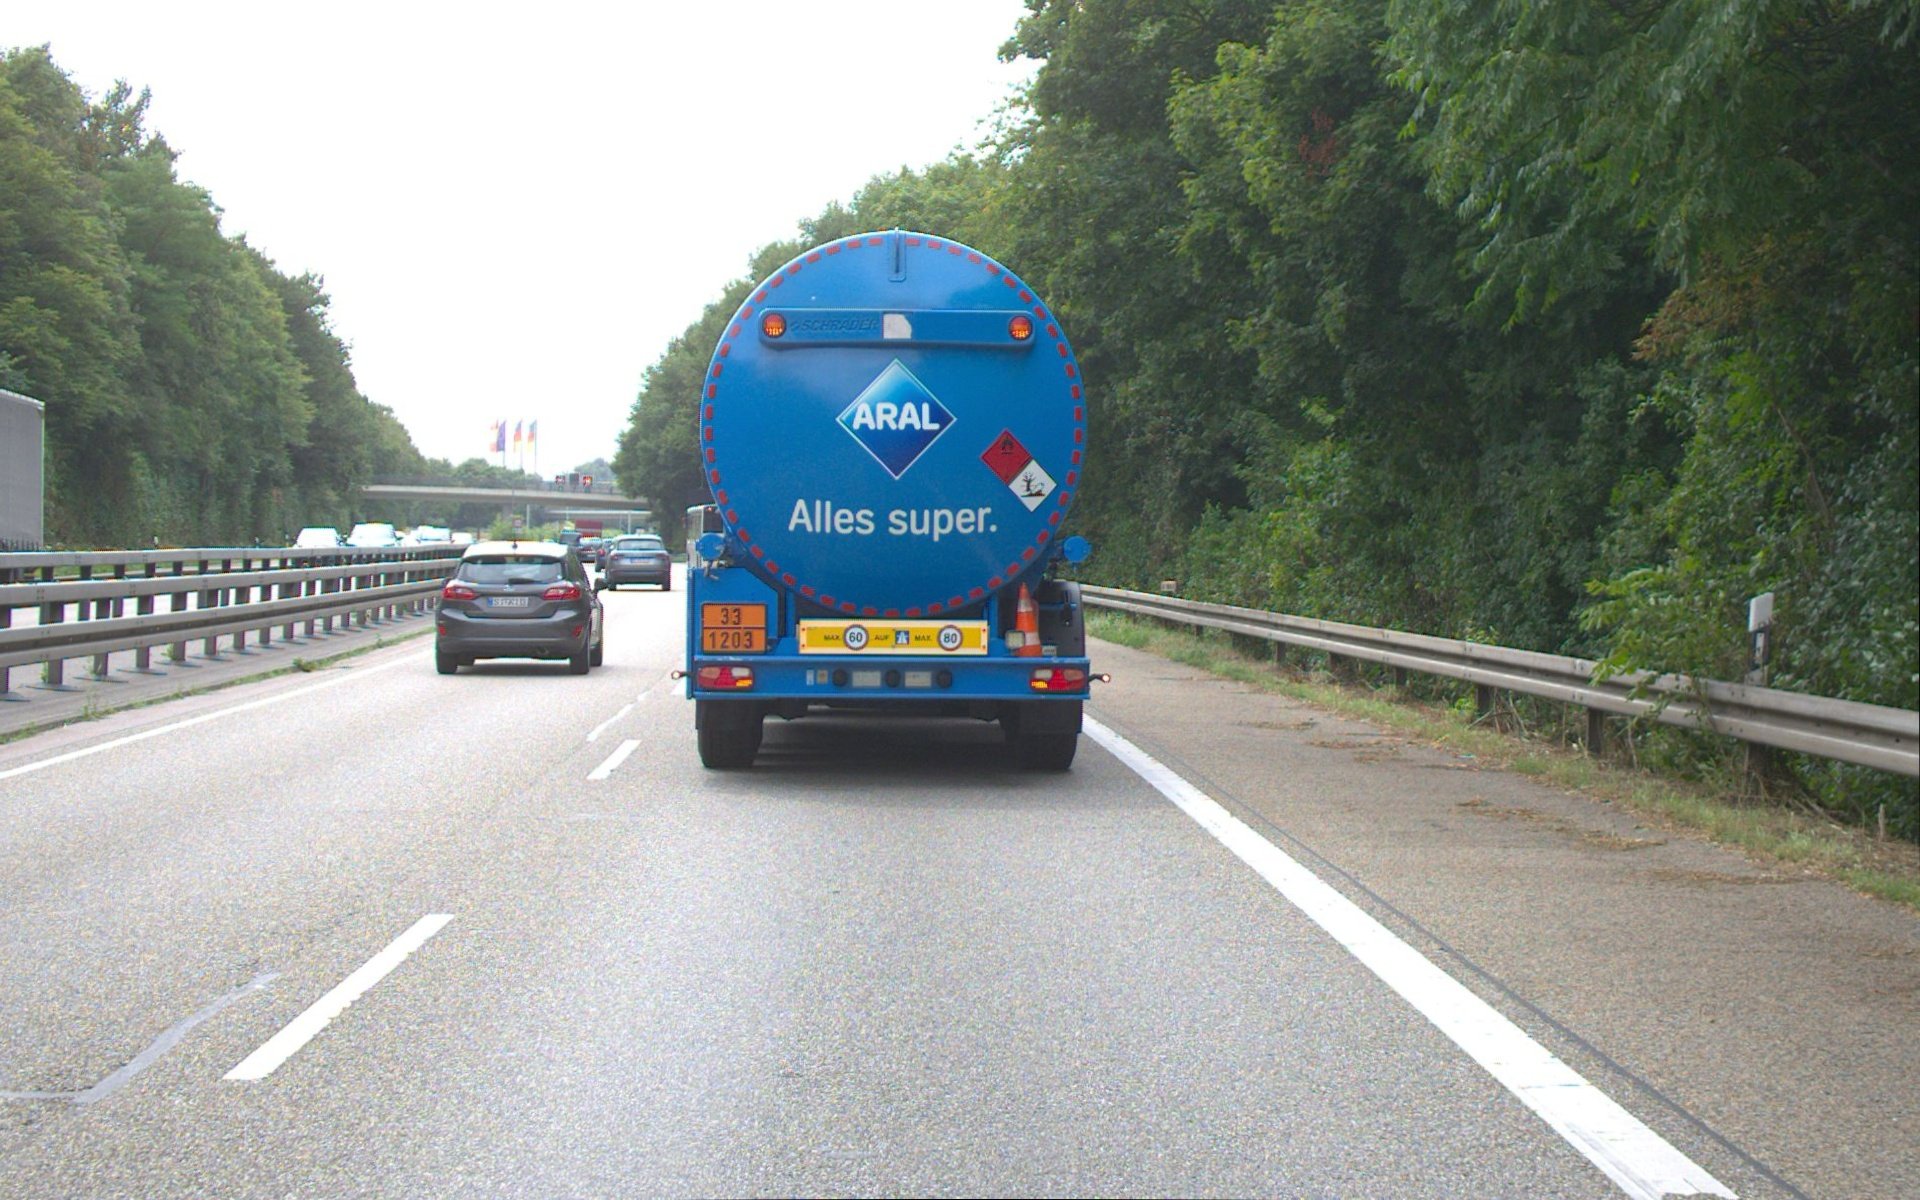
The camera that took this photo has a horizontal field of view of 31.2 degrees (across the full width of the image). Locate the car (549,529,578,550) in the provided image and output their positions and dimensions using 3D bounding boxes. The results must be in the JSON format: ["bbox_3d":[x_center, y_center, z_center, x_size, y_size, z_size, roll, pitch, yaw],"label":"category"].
[{"bbox_3d":[-29.186,-4.469,253.063,1.993,1.546,4.001,0,1,-4],"label":"car"}]

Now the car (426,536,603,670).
[{"bbox_3d":[-5.056,-0.010,39.484,1.826,1.453,4.640,0,1,-5],"label":"car"}]

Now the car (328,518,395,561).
[{"bbox_3d":[-19.520,-1.972,112.221,1.643,1.384,4.291,0,1,-3],"label":"car"}]

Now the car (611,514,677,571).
[{"bbox_3d":[-9.092,-1.649,98.611,1.826,1.604,4.168,0,1,-6],"label":"car"}]

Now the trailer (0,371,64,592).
[{"bbox_3d":[-18.833,-2.148,61.931,2.663,4.032,12.874,0,1,-3],"label":"trailer"}]

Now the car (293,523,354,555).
[{"bbox_3d":[-24.318,-2.328,131.473,1.742,1.185,4.291,0,1,-3],"label":"car"}]

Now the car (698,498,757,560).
[{"bbox_3d":[-8.609,-2.628,127.544,1.993,2.237,4.000,0,1,-1],"label":"car"}]

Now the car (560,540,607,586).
[{"bbox_3d":[-16.607,-1.656,151.541,1.993,2.007,4.001,0,1,-7],"label":"car"}]

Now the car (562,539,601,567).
[{"bbox_3d":[-20.911,-2.596,189.960,1.955,1.562,4.001,0,1,-3],"label":"car"}]

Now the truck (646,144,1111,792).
[{"bbox_3d":[-0.500,-0.871,24.220,2.755,3.833,7.689,0,1,0],"label":"truck"}]
